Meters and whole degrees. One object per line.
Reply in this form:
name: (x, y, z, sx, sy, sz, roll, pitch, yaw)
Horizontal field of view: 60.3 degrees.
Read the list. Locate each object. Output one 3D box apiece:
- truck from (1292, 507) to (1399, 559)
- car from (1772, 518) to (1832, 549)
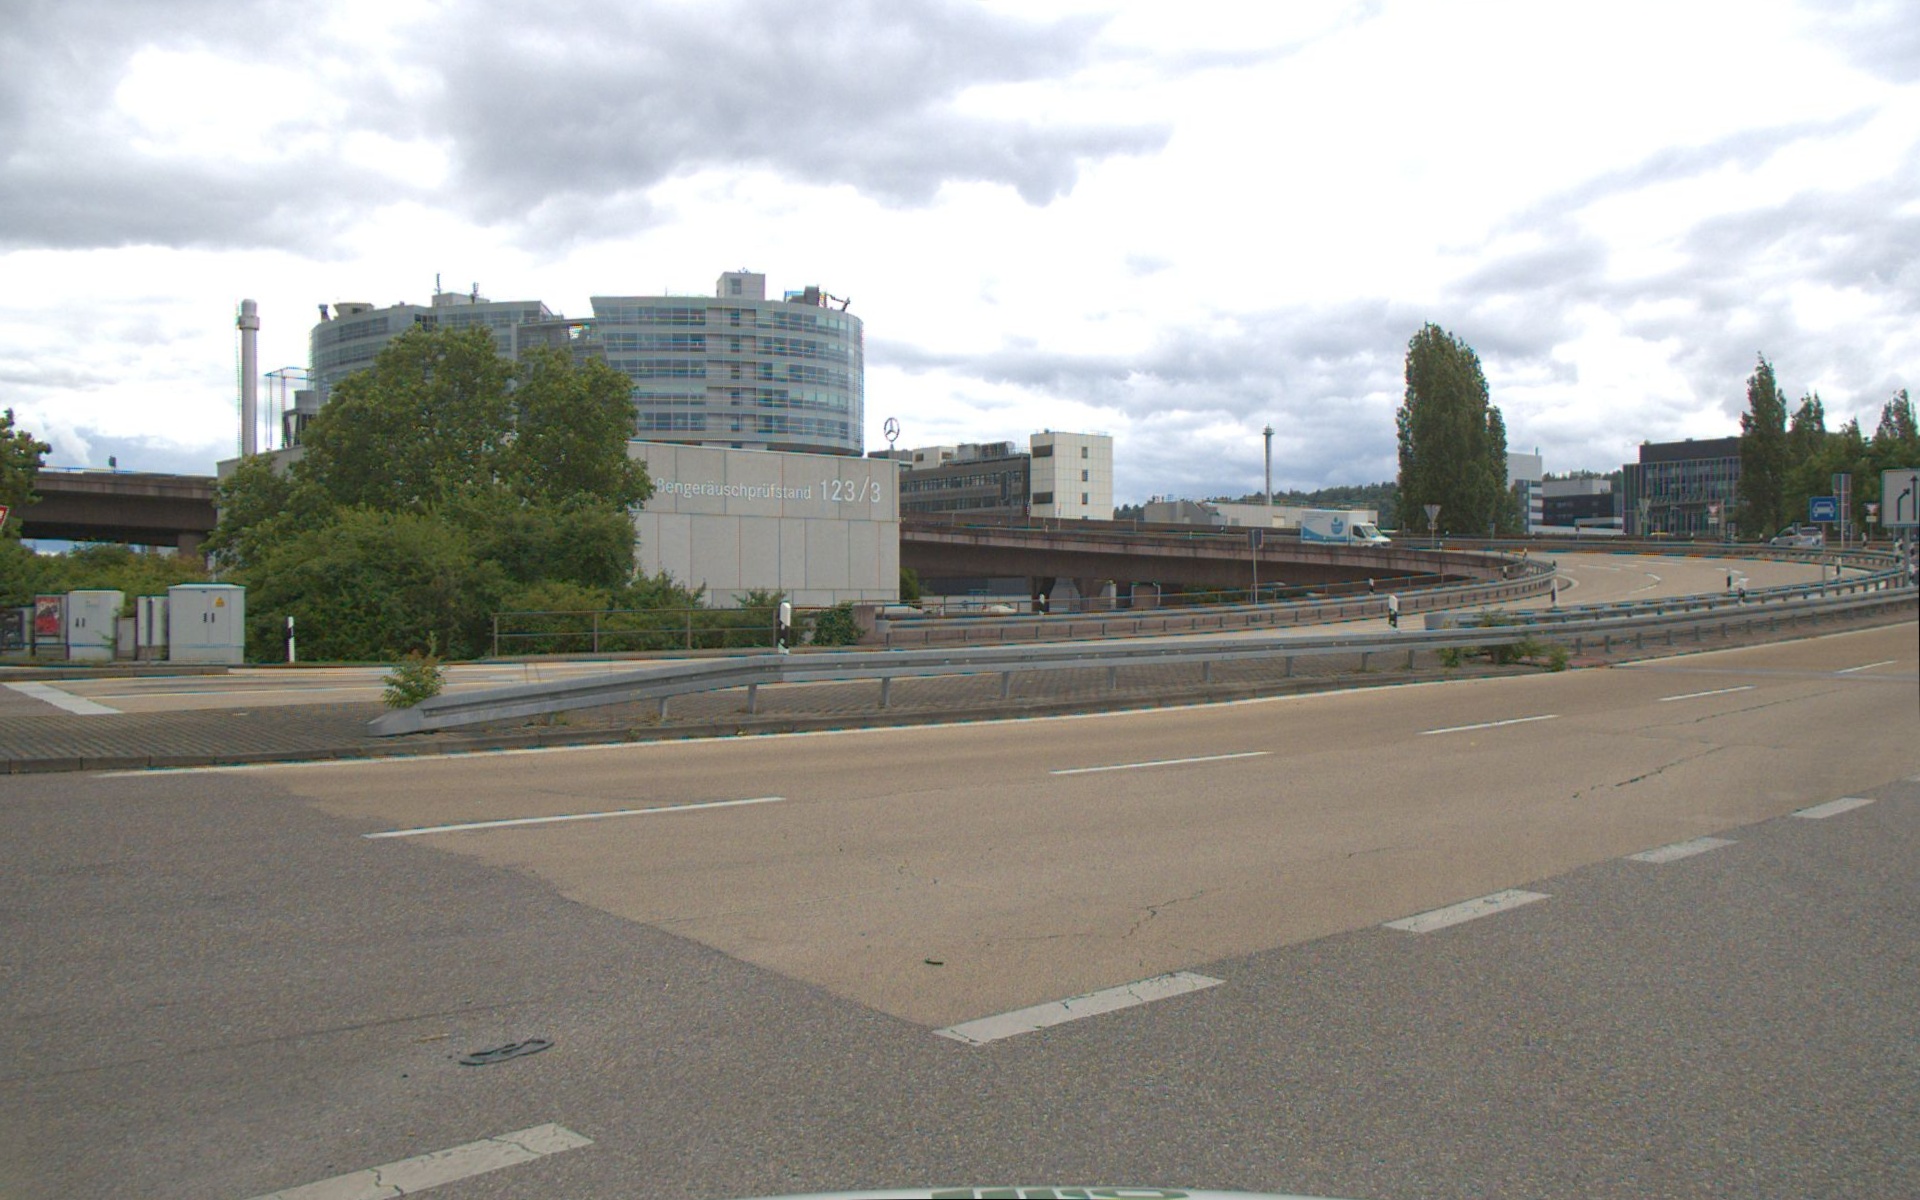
truck: (26.312, -4.528, 113.273, 2.307, 3.326, 7.247, 2, -1, -39)
car: (52.199, -4.116, 102.636, 1.688, 1.767, 4.558, 1, 0, 4)
